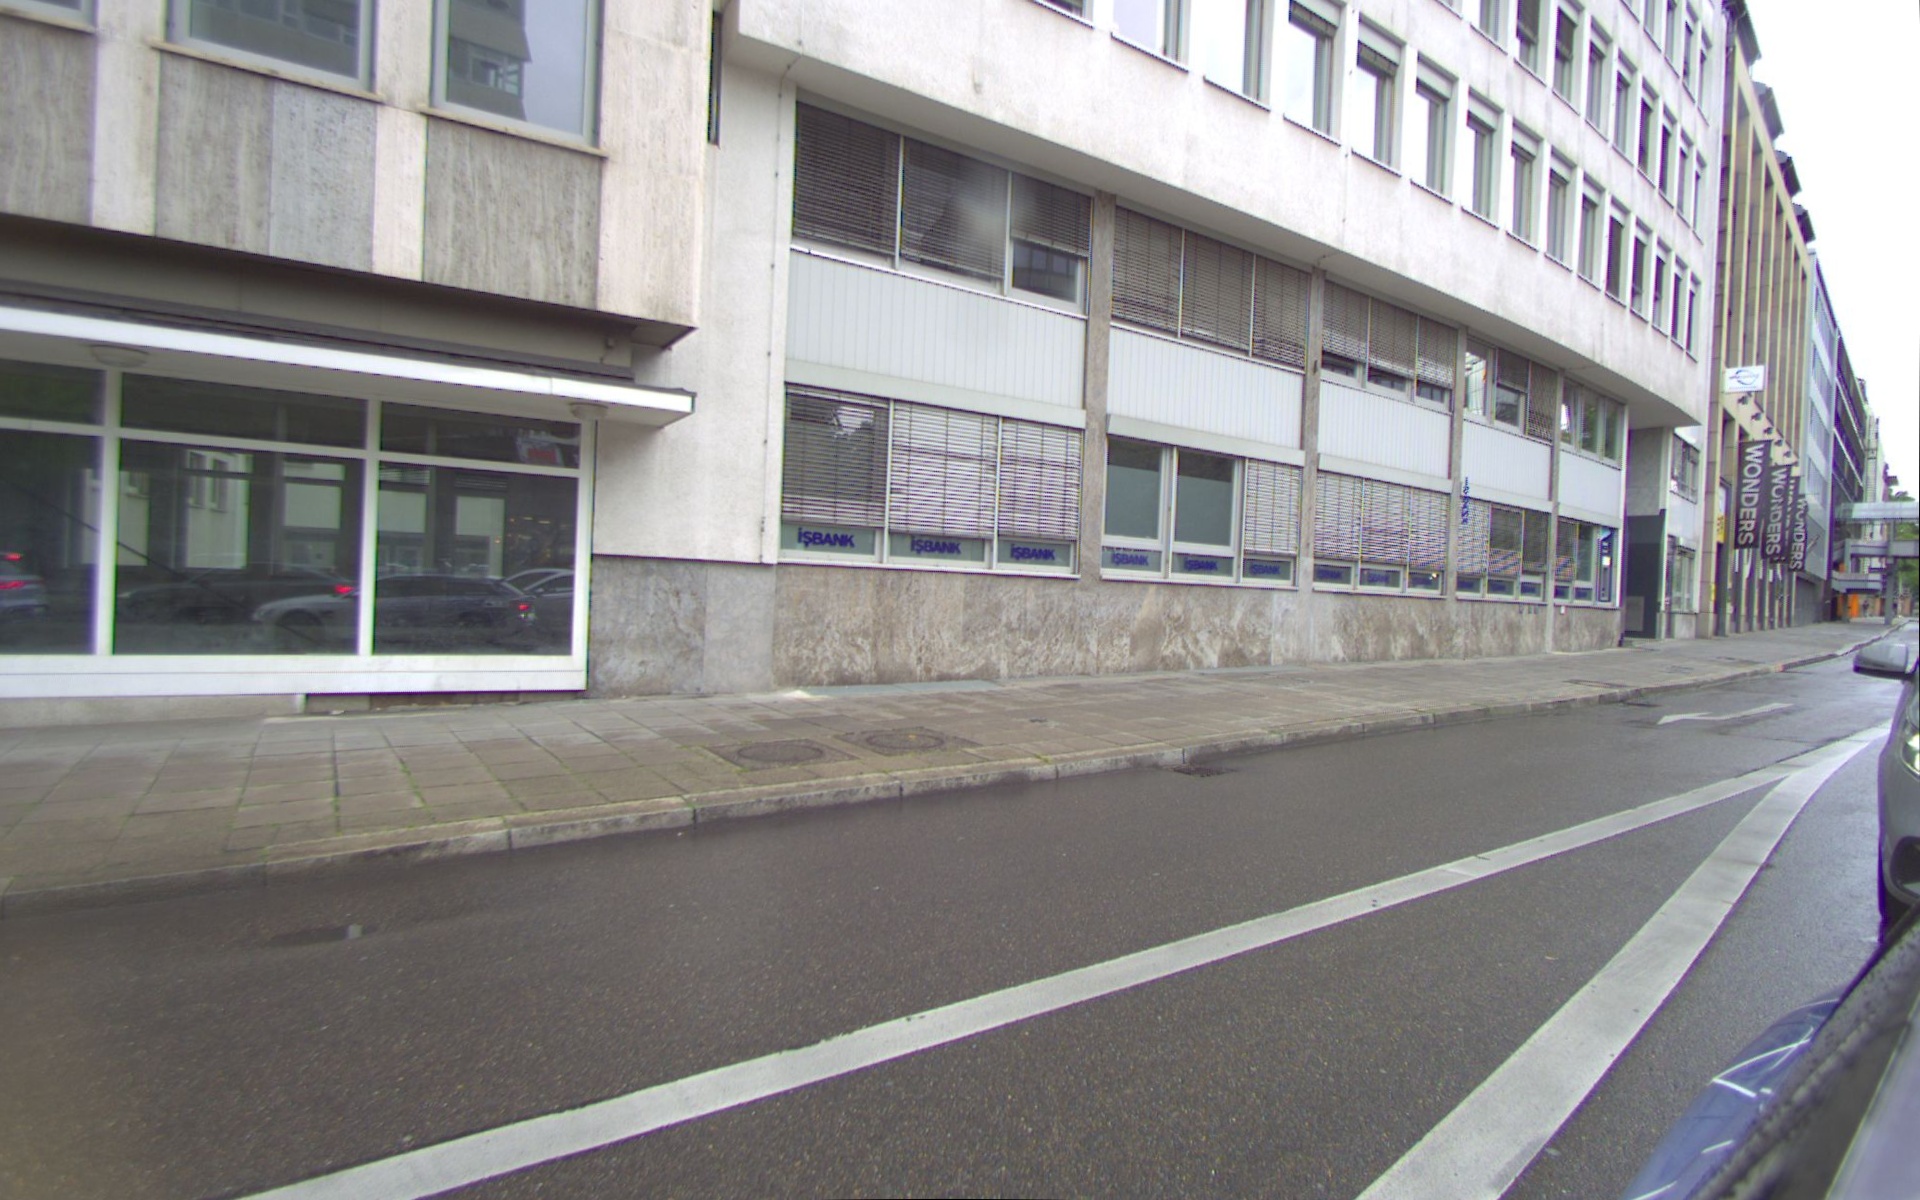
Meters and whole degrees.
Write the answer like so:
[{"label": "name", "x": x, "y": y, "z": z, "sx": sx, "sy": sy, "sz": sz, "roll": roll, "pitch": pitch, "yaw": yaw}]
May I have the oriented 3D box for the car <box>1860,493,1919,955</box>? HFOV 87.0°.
[{"label": "car", "x": 6.241, "y": 0.517, "z": 5.194, "sx": 4.940, "sy": 1.879, "sz": 1.914, "roll": 0, "pitch": 0, "yaw": -42}]
